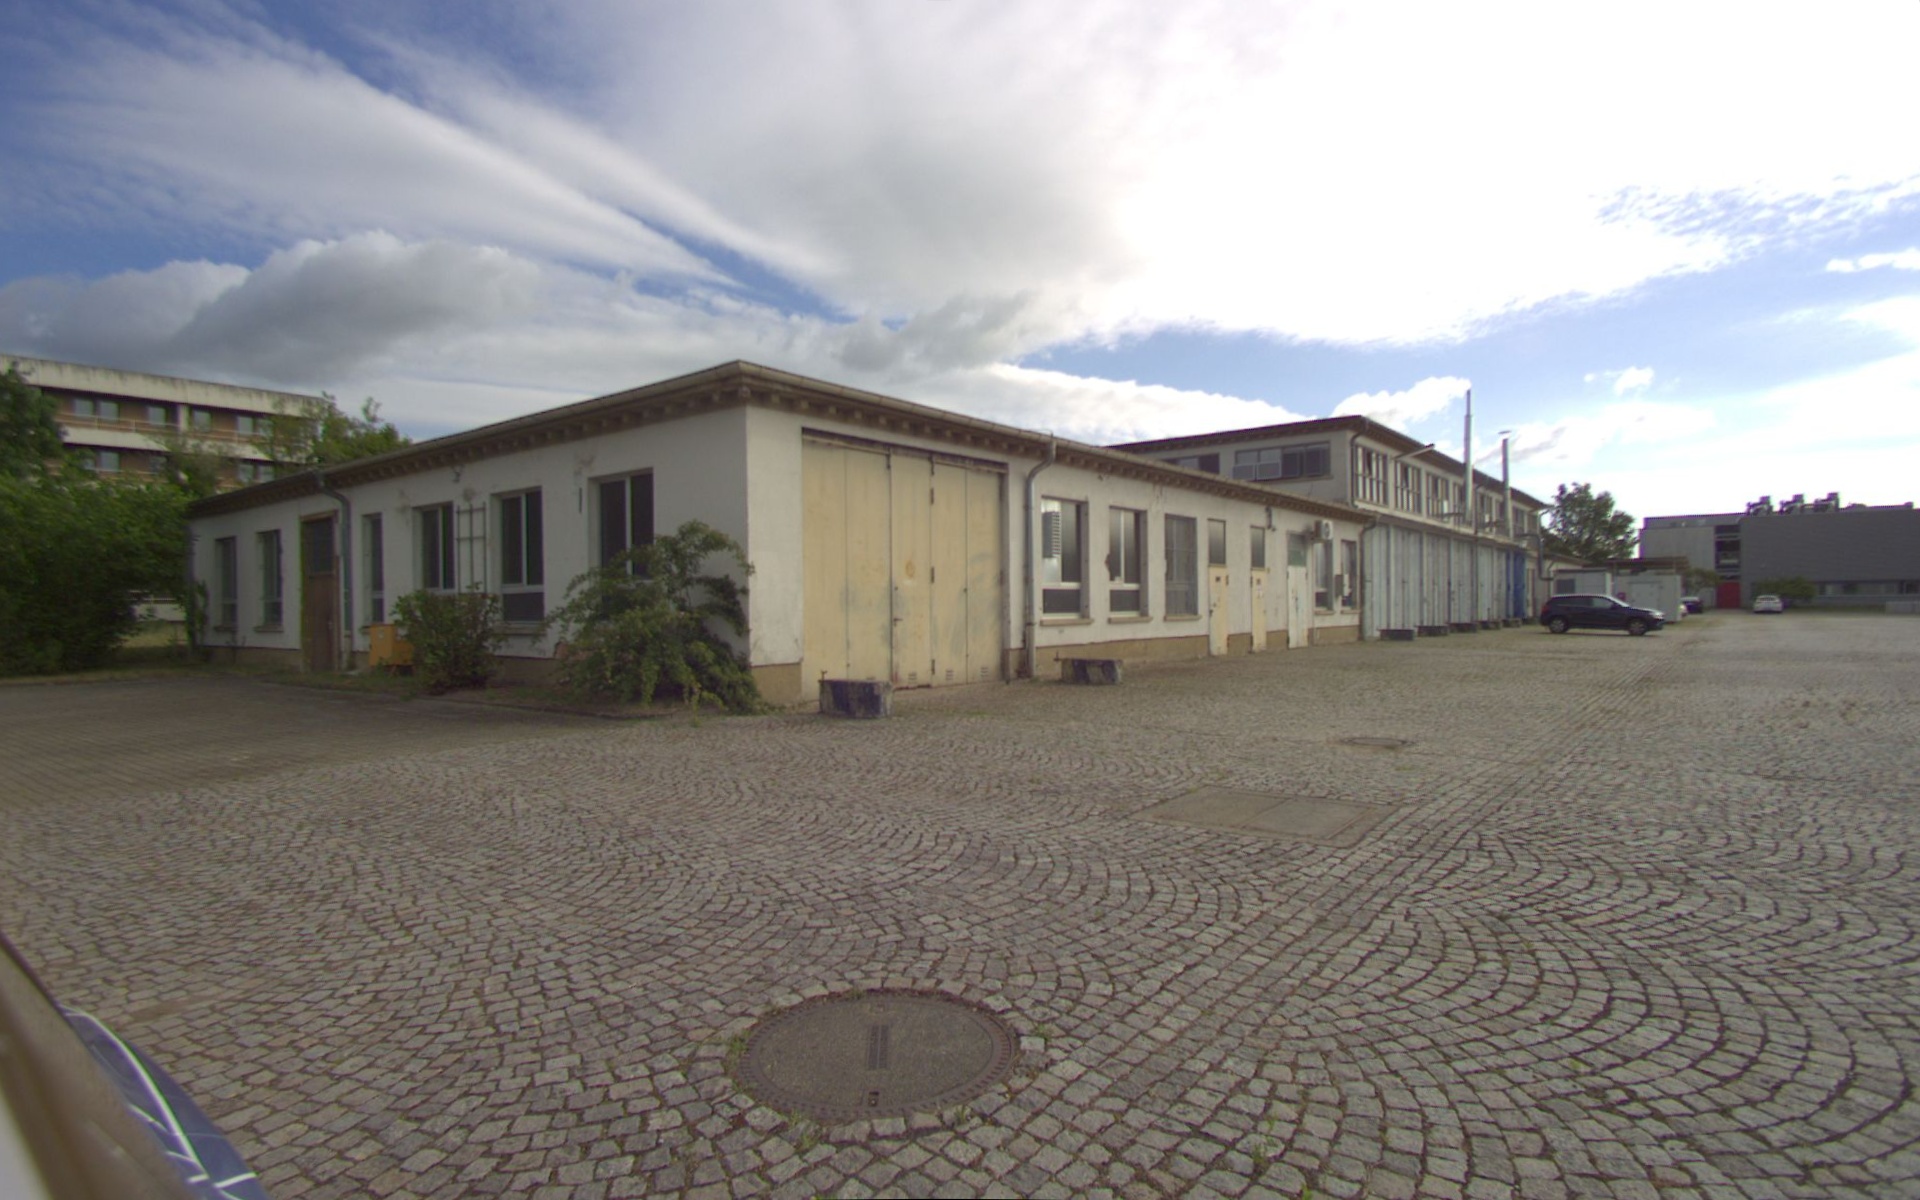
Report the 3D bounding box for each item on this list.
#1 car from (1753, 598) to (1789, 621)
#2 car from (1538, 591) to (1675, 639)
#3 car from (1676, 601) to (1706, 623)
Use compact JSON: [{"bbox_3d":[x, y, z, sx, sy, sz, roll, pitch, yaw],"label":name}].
[{"bbox_3d":[66.732,0.813,83.346,2.151,1.824,3.949,-1,-1,37],"label":"car"},{"bbox_3d":[25.757,0.641,40.381,4.430,1.770,1.974,-1,-4,38],"label":"car"},{"bbox_3d":[62.334,1.021,86.285,1.997,1.824,3.949,-1,-1,37],"label":"car"}]
